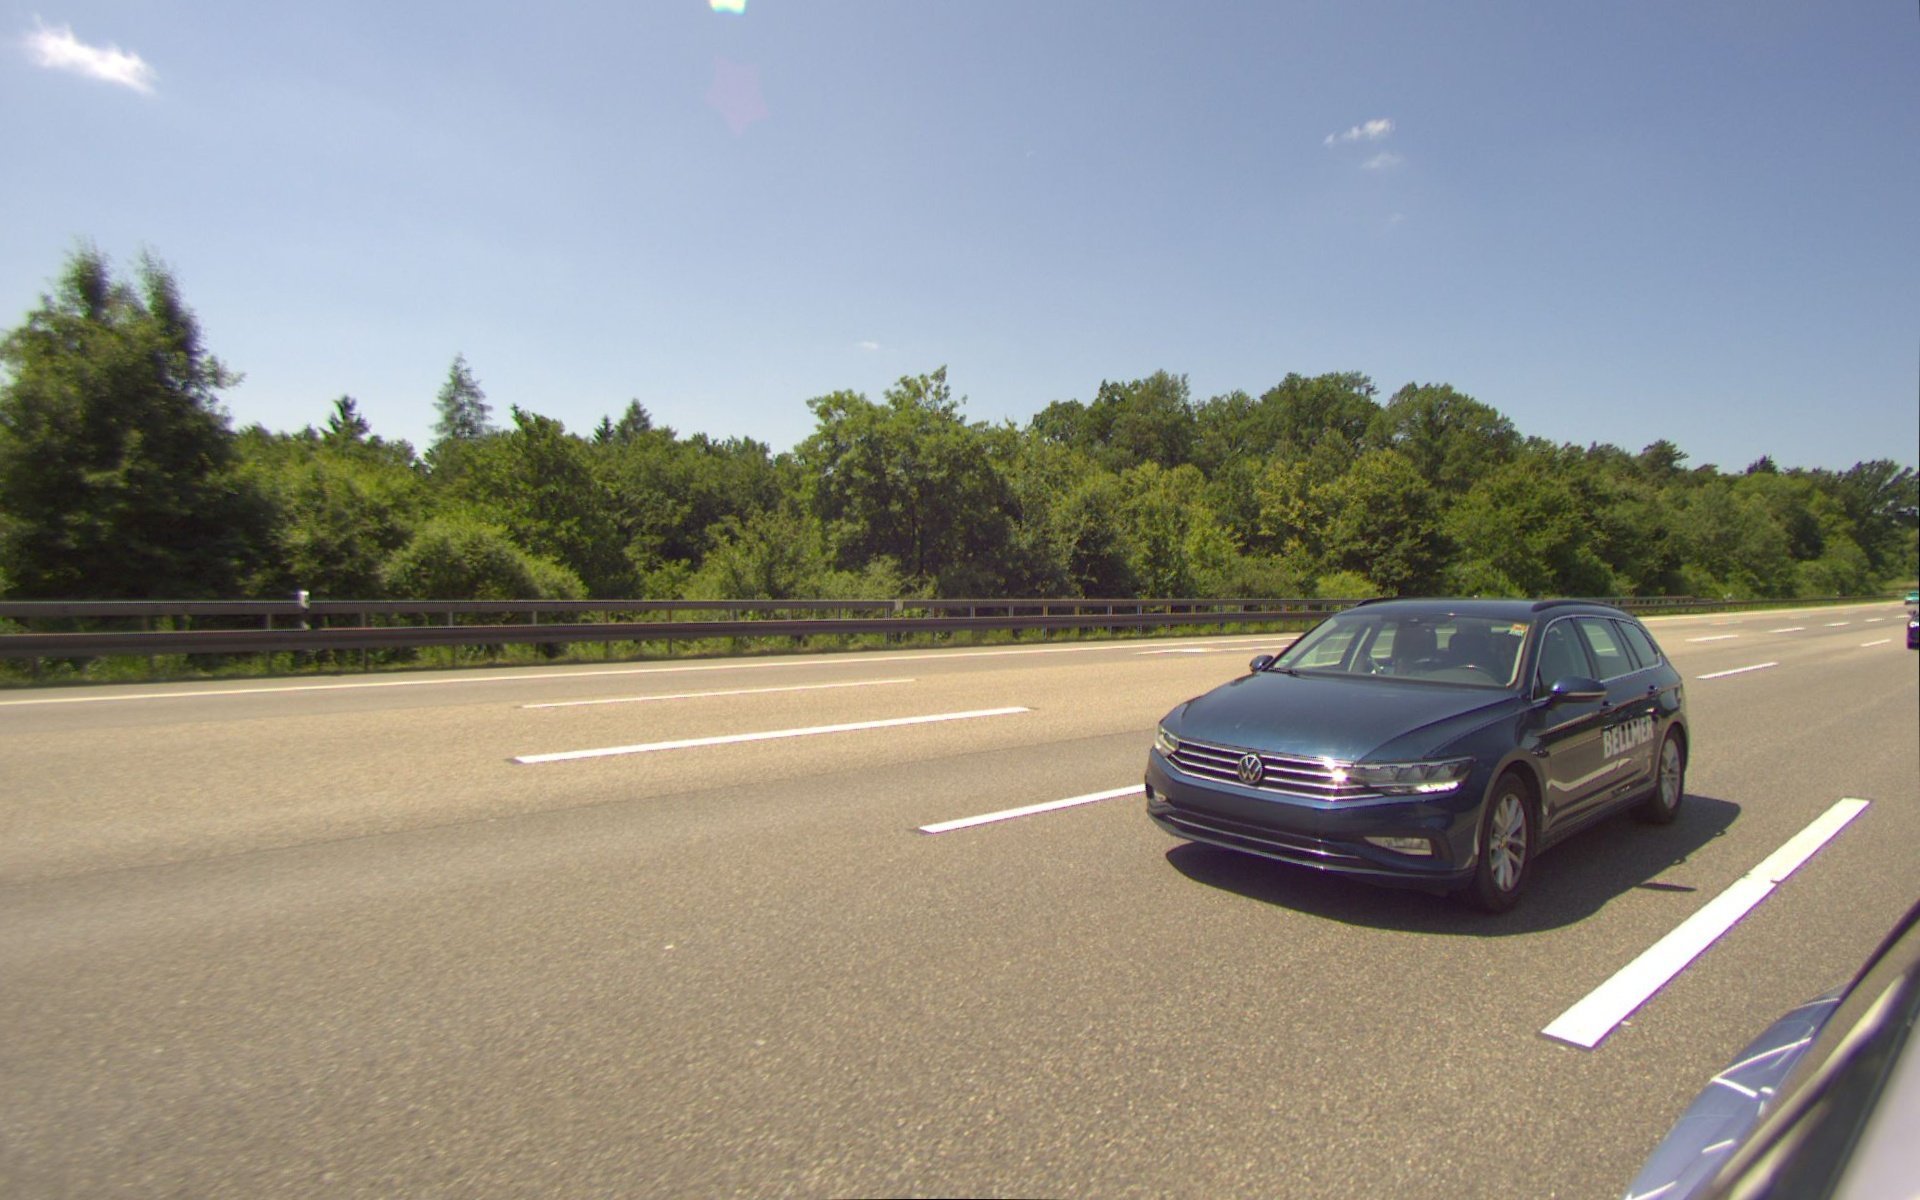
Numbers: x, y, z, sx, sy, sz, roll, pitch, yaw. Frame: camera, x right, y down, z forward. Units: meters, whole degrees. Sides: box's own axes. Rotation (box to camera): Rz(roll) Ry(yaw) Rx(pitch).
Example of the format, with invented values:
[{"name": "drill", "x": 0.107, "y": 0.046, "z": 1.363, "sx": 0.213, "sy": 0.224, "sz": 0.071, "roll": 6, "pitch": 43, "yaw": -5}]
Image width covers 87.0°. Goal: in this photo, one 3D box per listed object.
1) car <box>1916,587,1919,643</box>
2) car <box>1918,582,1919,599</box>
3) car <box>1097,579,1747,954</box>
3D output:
[{"name": "car", "x": 27.785, "y": 0.411, "z": 27.733, "sx": 4.131, "sy": 1.480, "sz": 1.833, "roll": -1, "pitch": 4, "yaw": -41}, {"name": "car", "x": 101.041, "y": -0.926, "z": 104.894, "sx": 4.053, "sy": 1.700, "sz": 1.999, "roll": -1, "pitch": 4, "yaw": -39}, {"name": "car", "x": 3.151, "y": 0.634, "z": 6.277, "sx": 4.873, "sy": 1.465, "sz": 1.733, "roll": -1, "pitch": 2, "yaw": -40}]
